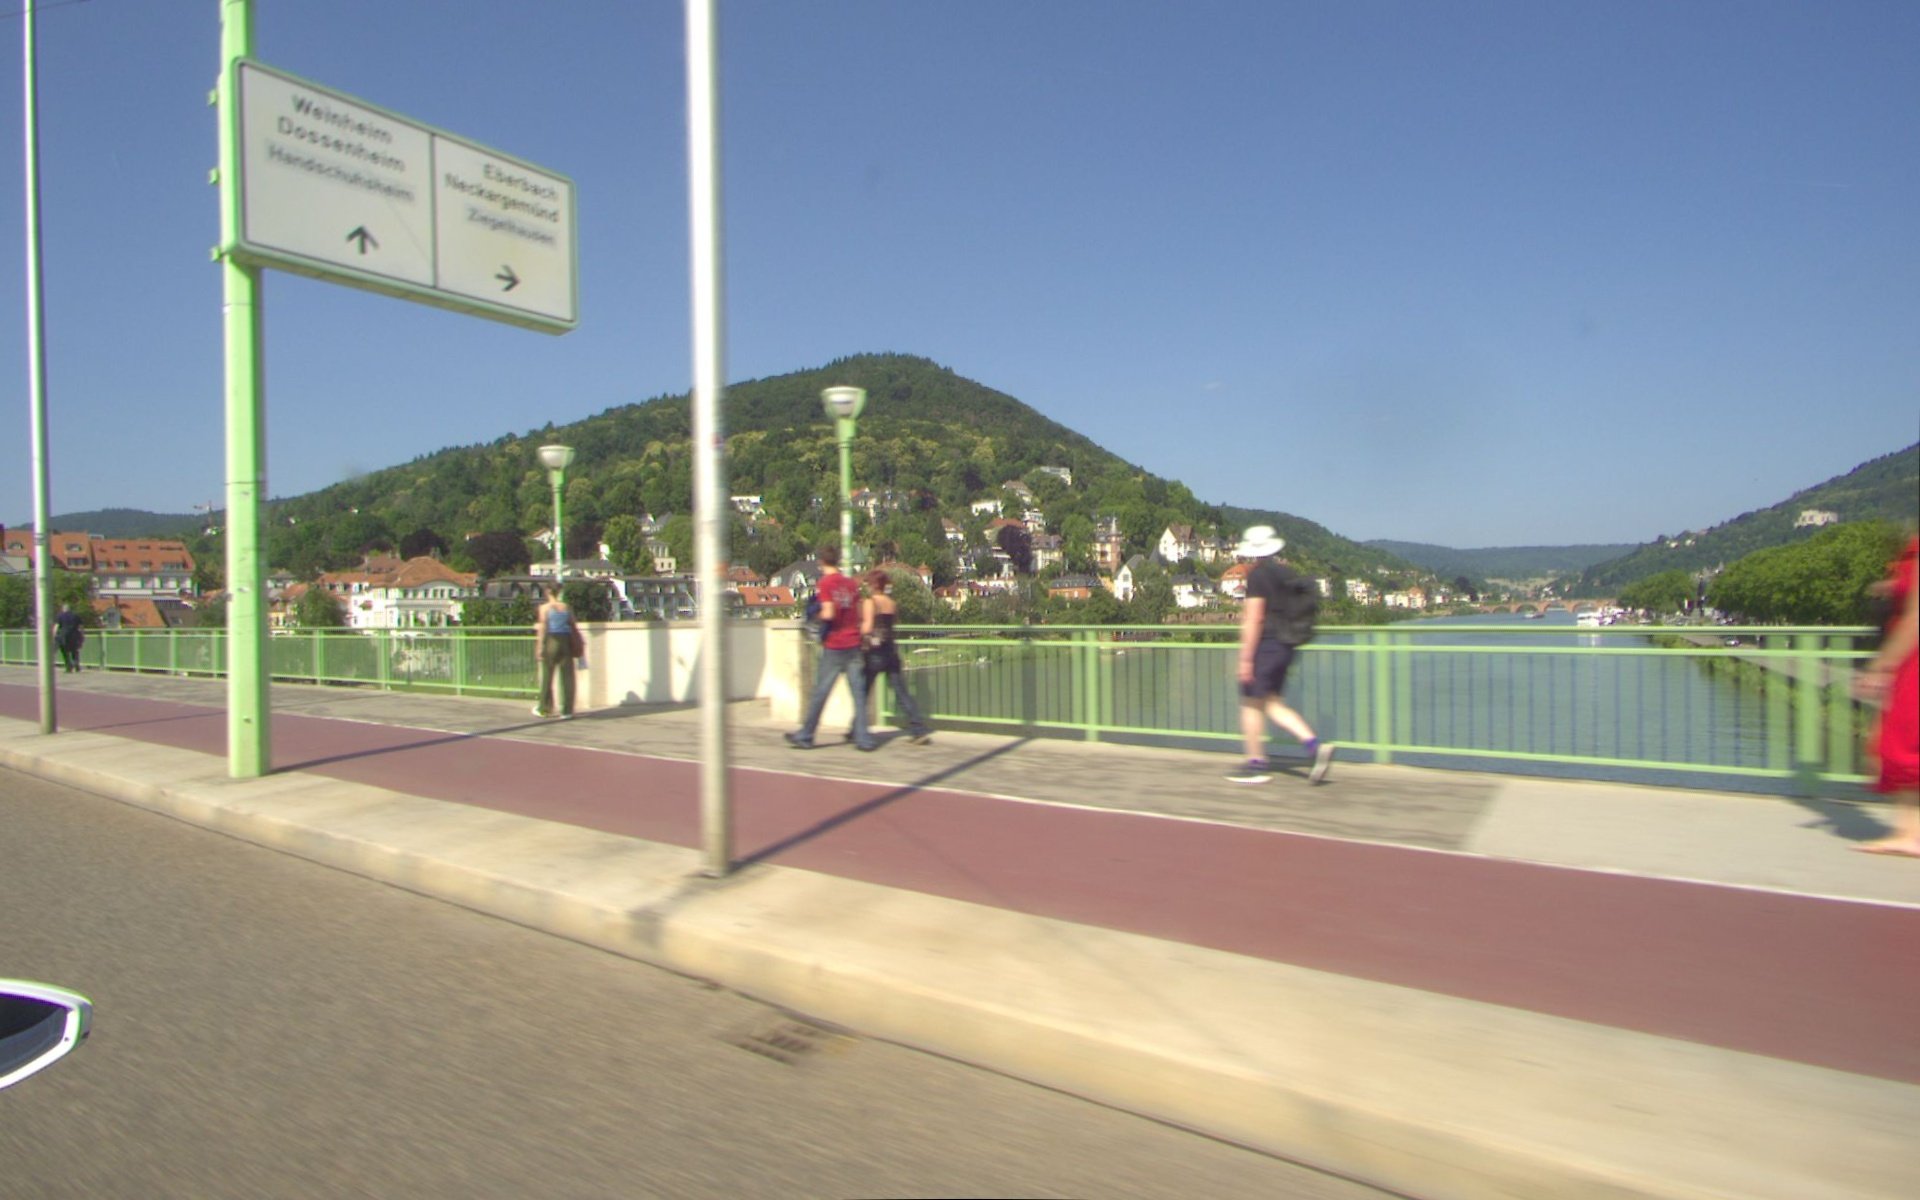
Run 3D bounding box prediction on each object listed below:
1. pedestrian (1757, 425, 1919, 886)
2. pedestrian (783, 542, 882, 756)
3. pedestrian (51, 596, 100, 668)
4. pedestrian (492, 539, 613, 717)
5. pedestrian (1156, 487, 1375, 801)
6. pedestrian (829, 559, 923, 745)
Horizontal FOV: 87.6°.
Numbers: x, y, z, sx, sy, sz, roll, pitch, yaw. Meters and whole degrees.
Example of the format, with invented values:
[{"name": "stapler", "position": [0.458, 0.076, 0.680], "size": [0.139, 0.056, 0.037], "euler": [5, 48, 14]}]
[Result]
[{"name": "pedestrian", "position": [4.423, 0.242, 4.714], "size": [0.926, 1.979, 1.013], "euler": [-1, 0, 33]}, {"name": "pedestrian", "position": [-1.133, 0.424, 8.922], "size": [0.623, 1.817, 0.584], "euler": [-1, 0, 30]}, {"name": "pedestrian", "position": [-22.099, 0.788, 25.024], "size": [0.963, 1.767, 0.654], "euler": [1, 1, 30]}, {"name": "pedestrian", "position": [-4.912, 0.334, 12.078], "size": [1.043, 2.040, 0.872], "euler": [-1, 0, 29]}, {"name": "pedestrian", "position": [2.108, 0.288, 6.869], "size": [1.235, 1.920, 0.983], "euler": [-1, 0, 29]}, {"name": "pedestrian", "position": [-0.784, 0.476, 9.413], "size": [0.689, 1.671, 0.522], "euler": [-1, 0, 30]}]
